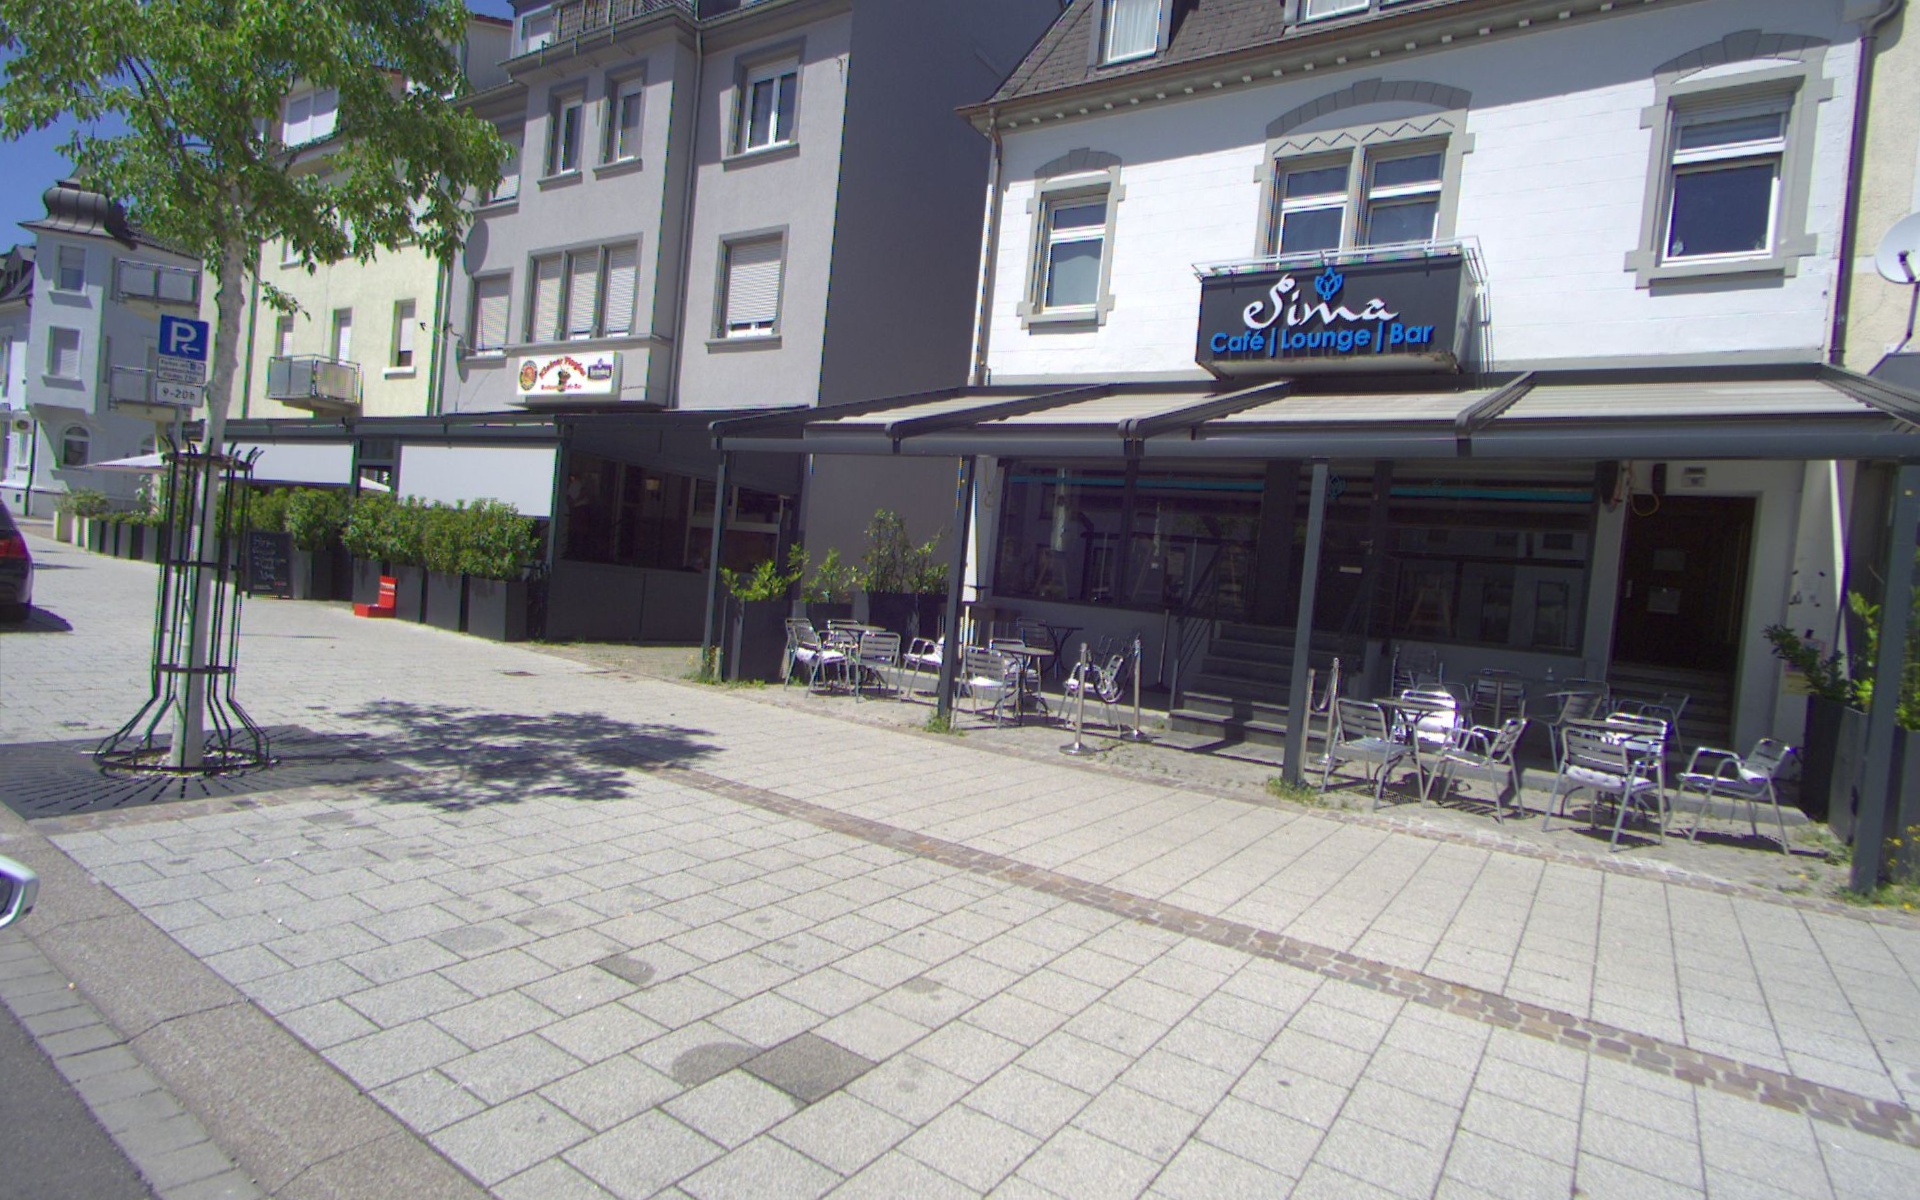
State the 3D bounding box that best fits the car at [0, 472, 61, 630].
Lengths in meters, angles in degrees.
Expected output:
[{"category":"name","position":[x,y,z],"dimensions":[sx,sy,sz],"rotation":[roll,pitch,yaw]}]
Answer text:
[{"category":"car","position":[-11.028,-0.620,10.347],"dimensions":[4.032,1.502,1.830],"rotation":[5,2,36]}]
